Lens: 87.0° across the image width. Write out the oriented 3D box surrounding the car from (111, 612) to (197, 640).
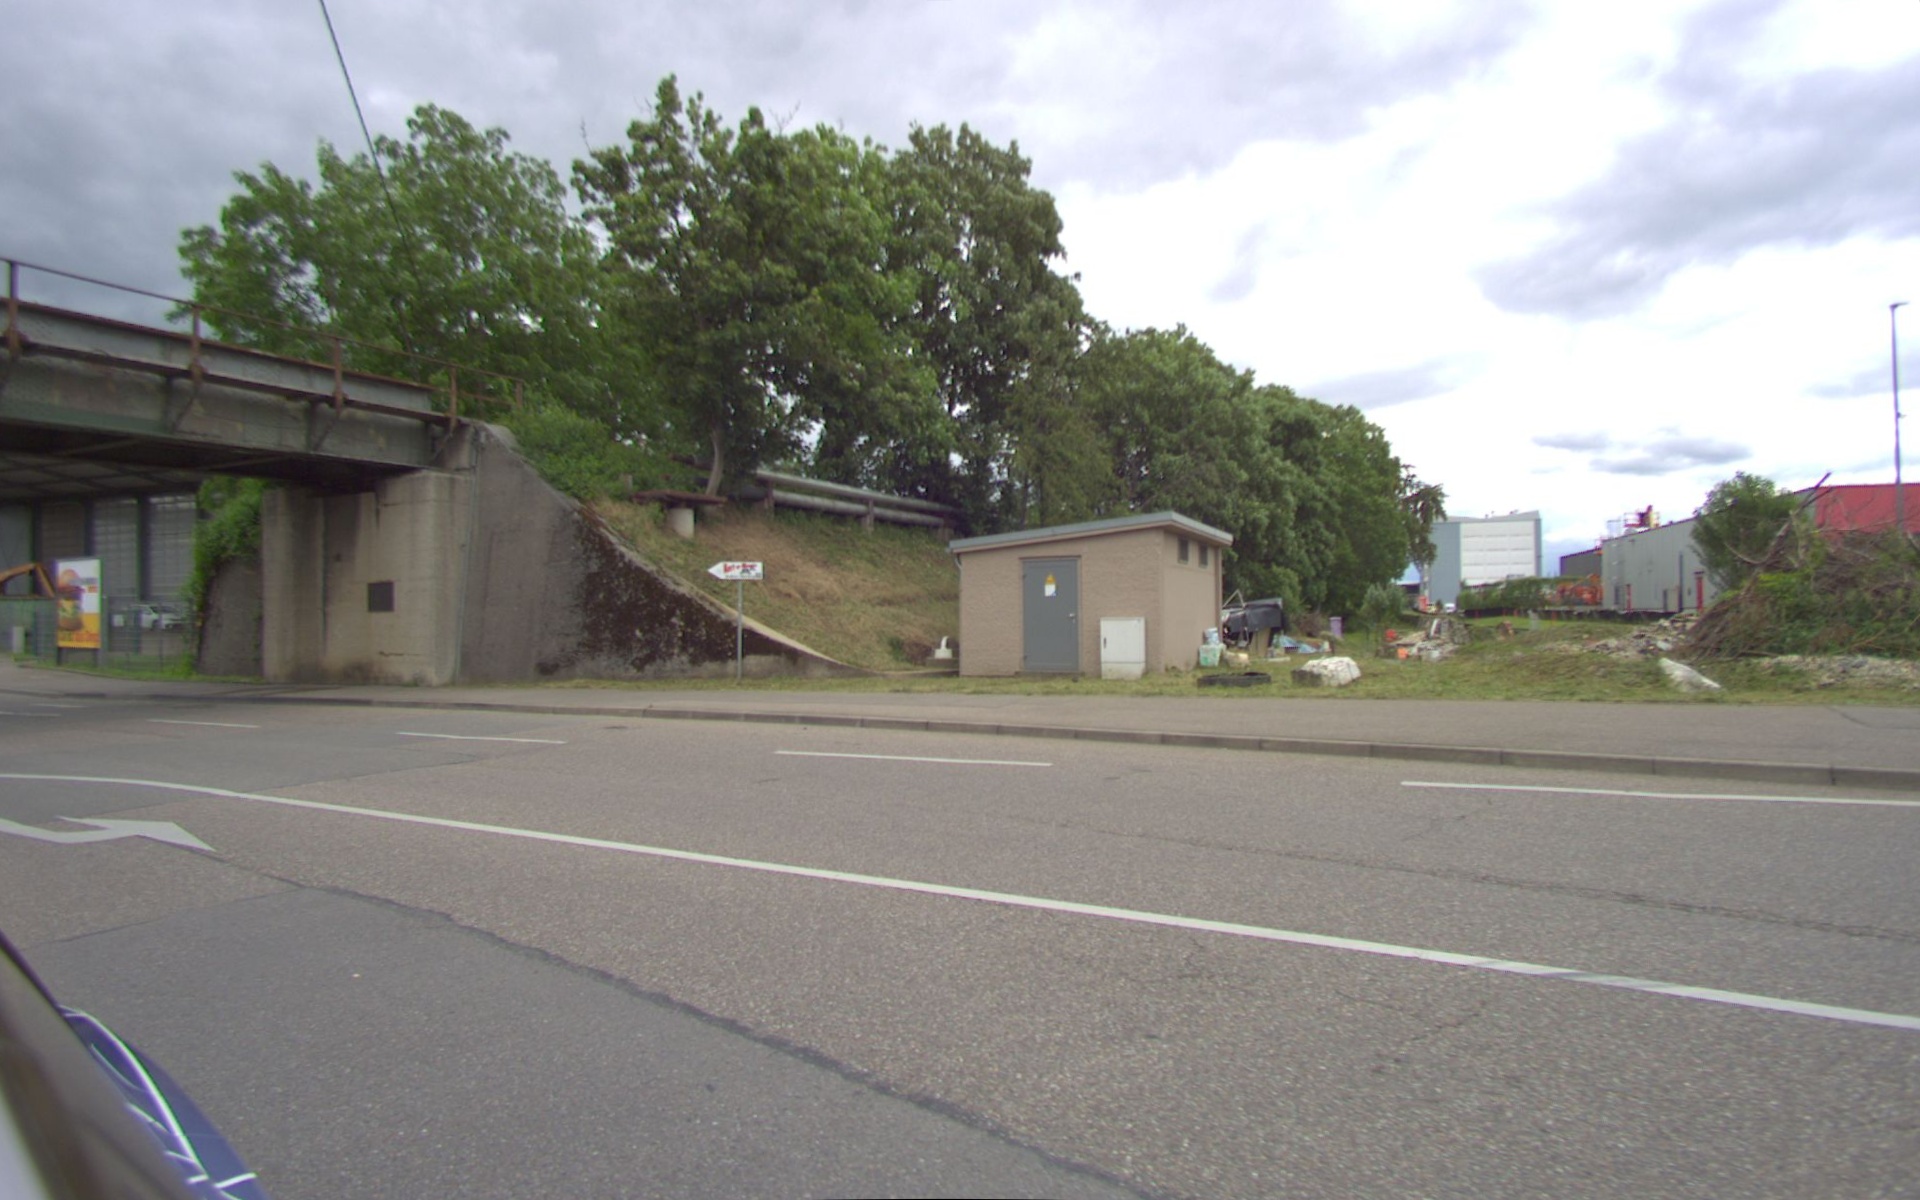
[{"bbox_3d":[-42.673,1.375,53.583,3.969,1.384,1.726,-1,-2,20],"label":"car"}]
